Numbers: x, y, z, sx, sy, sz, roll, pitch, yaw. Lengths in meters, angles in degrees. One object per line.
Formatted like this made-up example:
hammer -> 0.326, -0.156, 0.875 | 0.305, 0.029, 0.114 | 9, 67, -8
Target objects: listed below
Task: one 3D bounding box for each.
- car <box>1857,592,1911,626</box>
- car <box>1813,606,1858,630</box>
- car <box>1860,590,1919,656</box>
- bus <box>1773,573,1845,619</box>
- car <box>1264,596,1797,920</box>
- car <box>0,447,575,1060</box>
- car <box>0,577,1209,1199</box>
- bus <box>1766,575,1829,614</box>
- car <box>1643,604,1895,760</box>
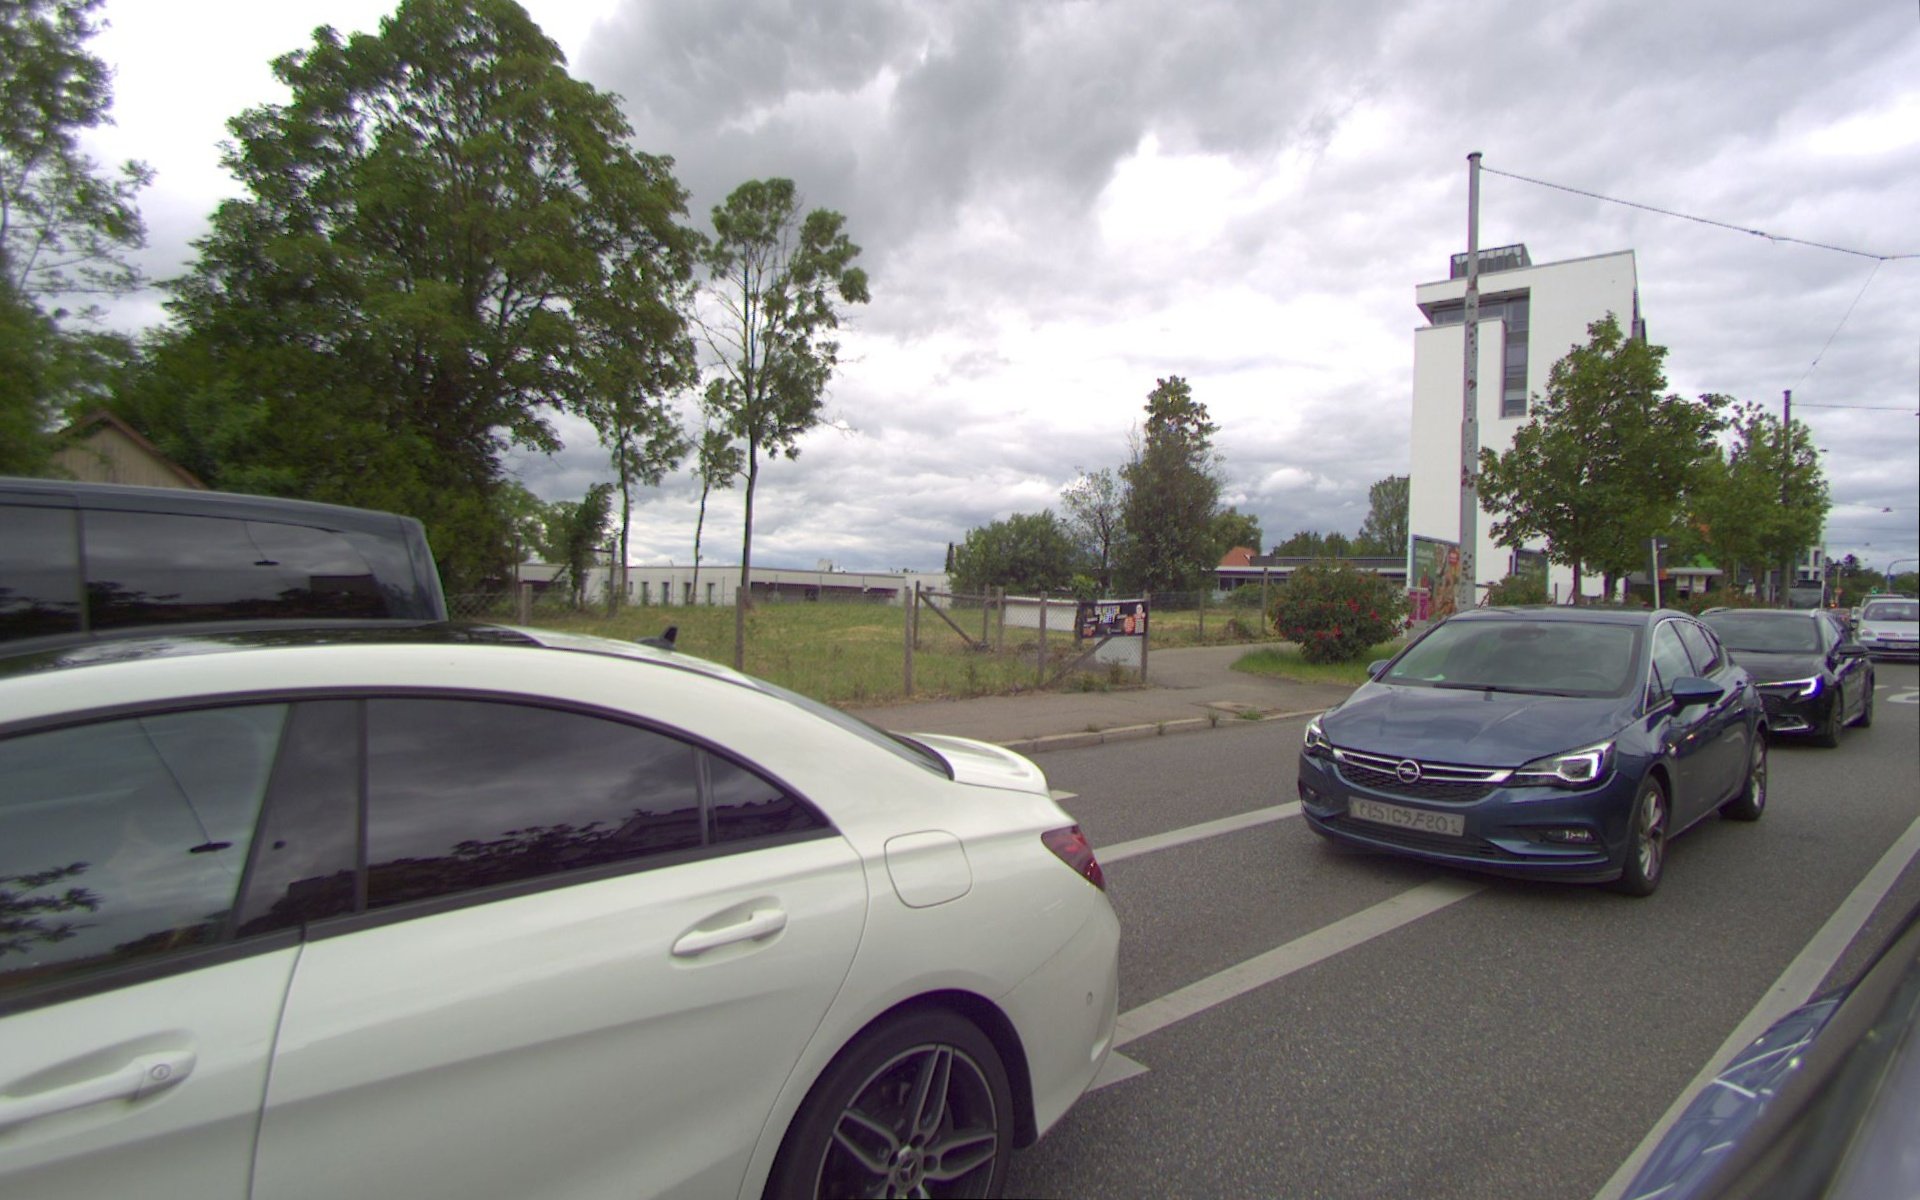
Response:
car -> 54.675, 0.493, 59.949 | 1.990, 1.844, 3.945 | 2, 2, 38
car -> 64.942, 1.308, 75.092 | 1.986, 1.621, 3.952 | 2, 1, 34
car -> 24.809, 0.561, 26.150 | 3.717, 1.637, 1.849 | 0, -1, -41
bus -> 53.964, -0.309, 64.567 | 2.952, 2.664, 11.986 | 0, 1, 37
car -> 3.816, 0.692, 6.479 | 3.931, 1.428, 1.825 | 0, 0, -42
car -> -3.979, 0.473, 3.448 | 4.627, 1.863, 1.952 | 0, -1, -41
car -> -1.532, 0.696, 1.812 | 4.300, 1.451, 1.652 | 0, 1, -41
bus -> 61.432, -0.443, 74.467 | 2.952, 2.664, 12.751 | 0, 1, 37
car -> 9.419, 0.794, 11.678 | 3.854, 1.475, 1.663 | 0, 0, -42
